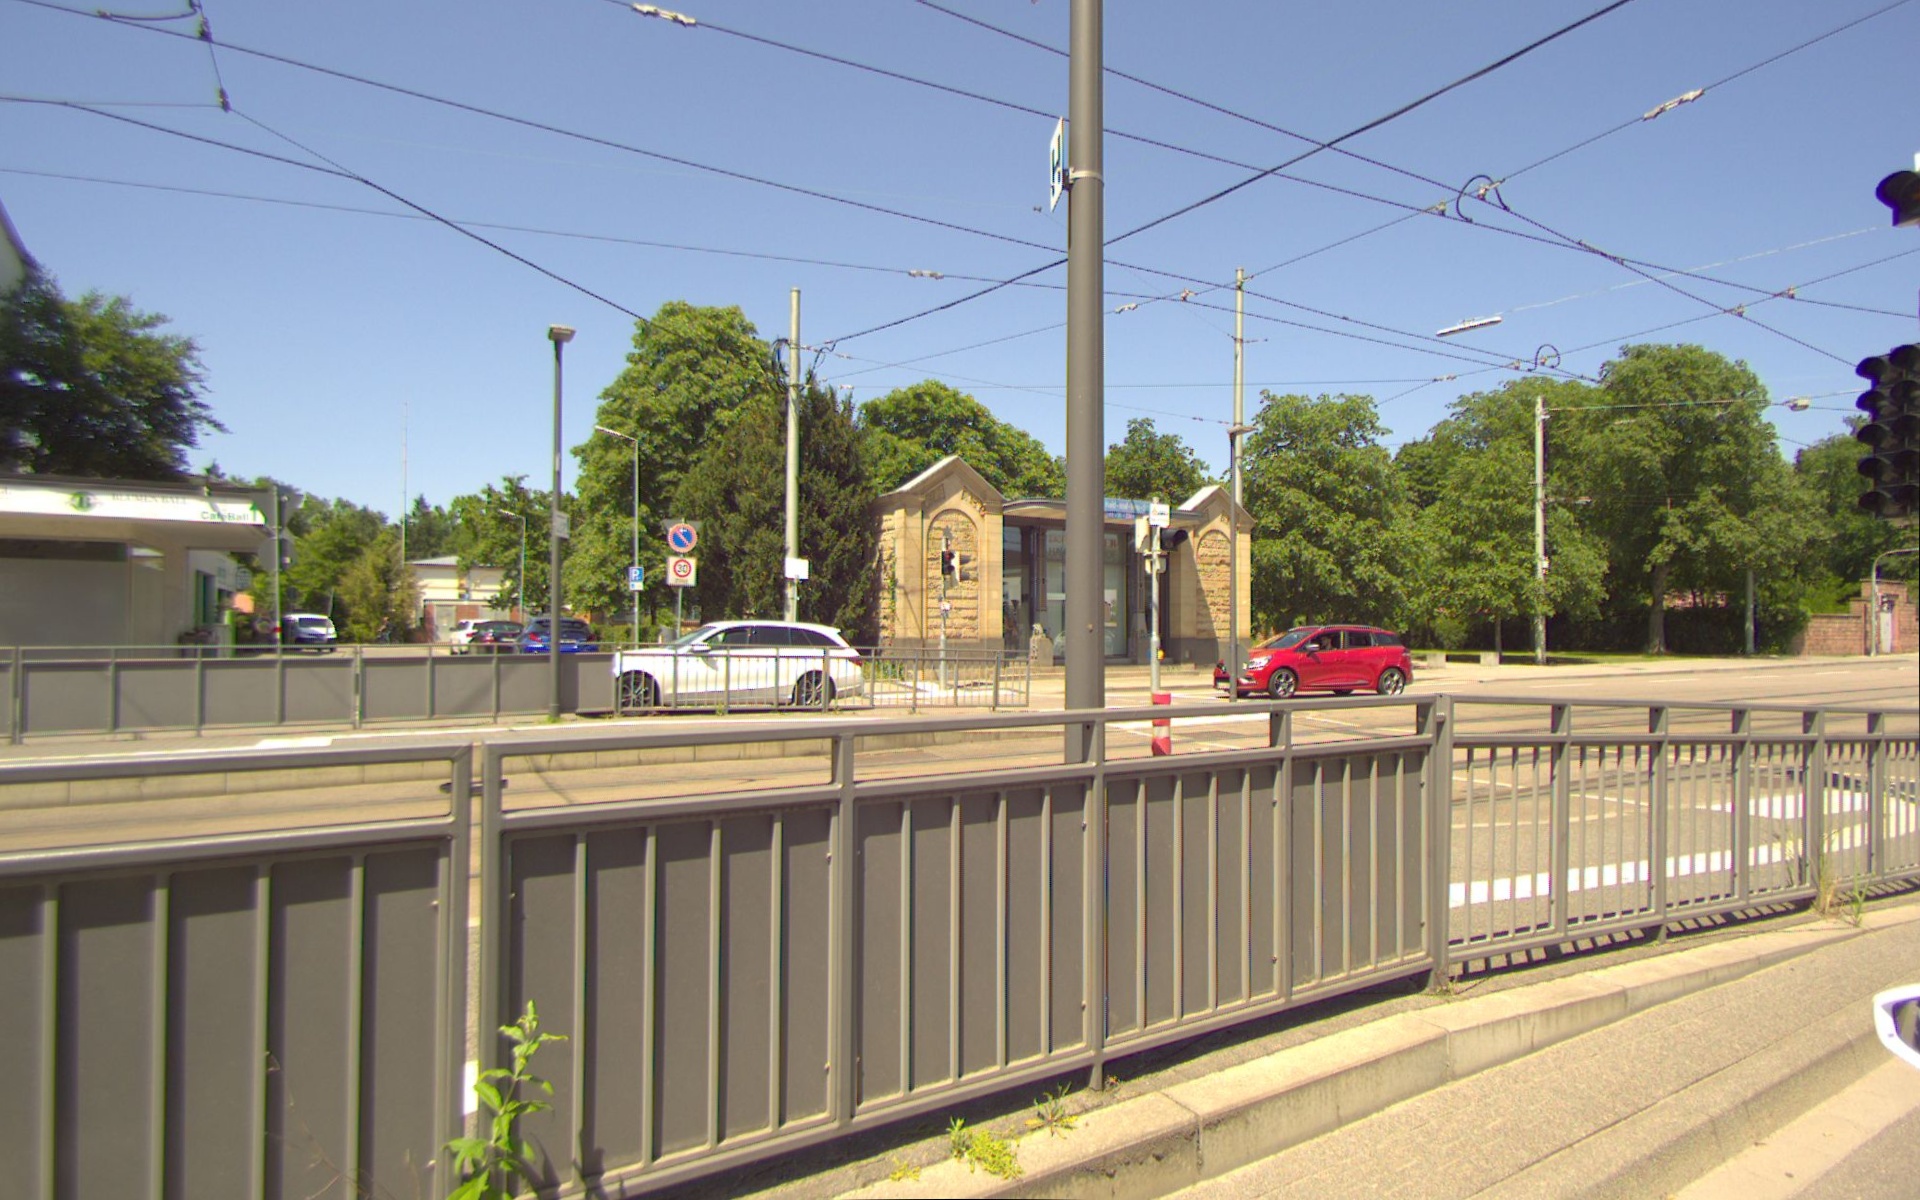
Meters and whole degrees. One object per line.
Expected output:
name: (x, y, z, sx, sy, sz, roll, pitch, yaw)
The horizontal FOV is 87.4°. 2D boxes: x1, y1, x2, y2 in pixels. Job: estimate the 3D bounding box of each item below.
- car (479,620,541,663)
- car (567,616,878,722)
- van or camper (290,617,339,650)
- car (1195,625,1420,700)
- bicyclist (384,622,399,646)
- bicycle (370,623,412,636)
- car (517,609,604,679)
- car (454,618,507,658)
car: (-15.311, 1.414, 34.120, 1.624, 1.388, 3.785, 1, -3, -29)
car: (-3.751, 1.049, 16.133, 4.570, 1.487, 1.809, 1, -3, -31)
van or camper: (-32.056, 1.644, 49.863, 1.676, 1.587, 3.784, 1, -2, -38)
car: (7.114, 1.243, 20.663, 4.106, 1.414, 1.818, 1, -1, -16)
bicyclist: (-33.827, 2.021, 59.775, 0.519, 1.454, 0.622, 0, -1, -5)
bicycle: (-33.851, 1.754, 59.774, 2.151, 0.798, 0.618, 0, -1, -3)
car: (-9.924, 1.022, 24.815, 1.799, 1.472, 3.934, 1, 1, -25)
car: (-18.824, 1.496, 39.345, 1.625, 1.465, 3.784, 1, -3, -29)
